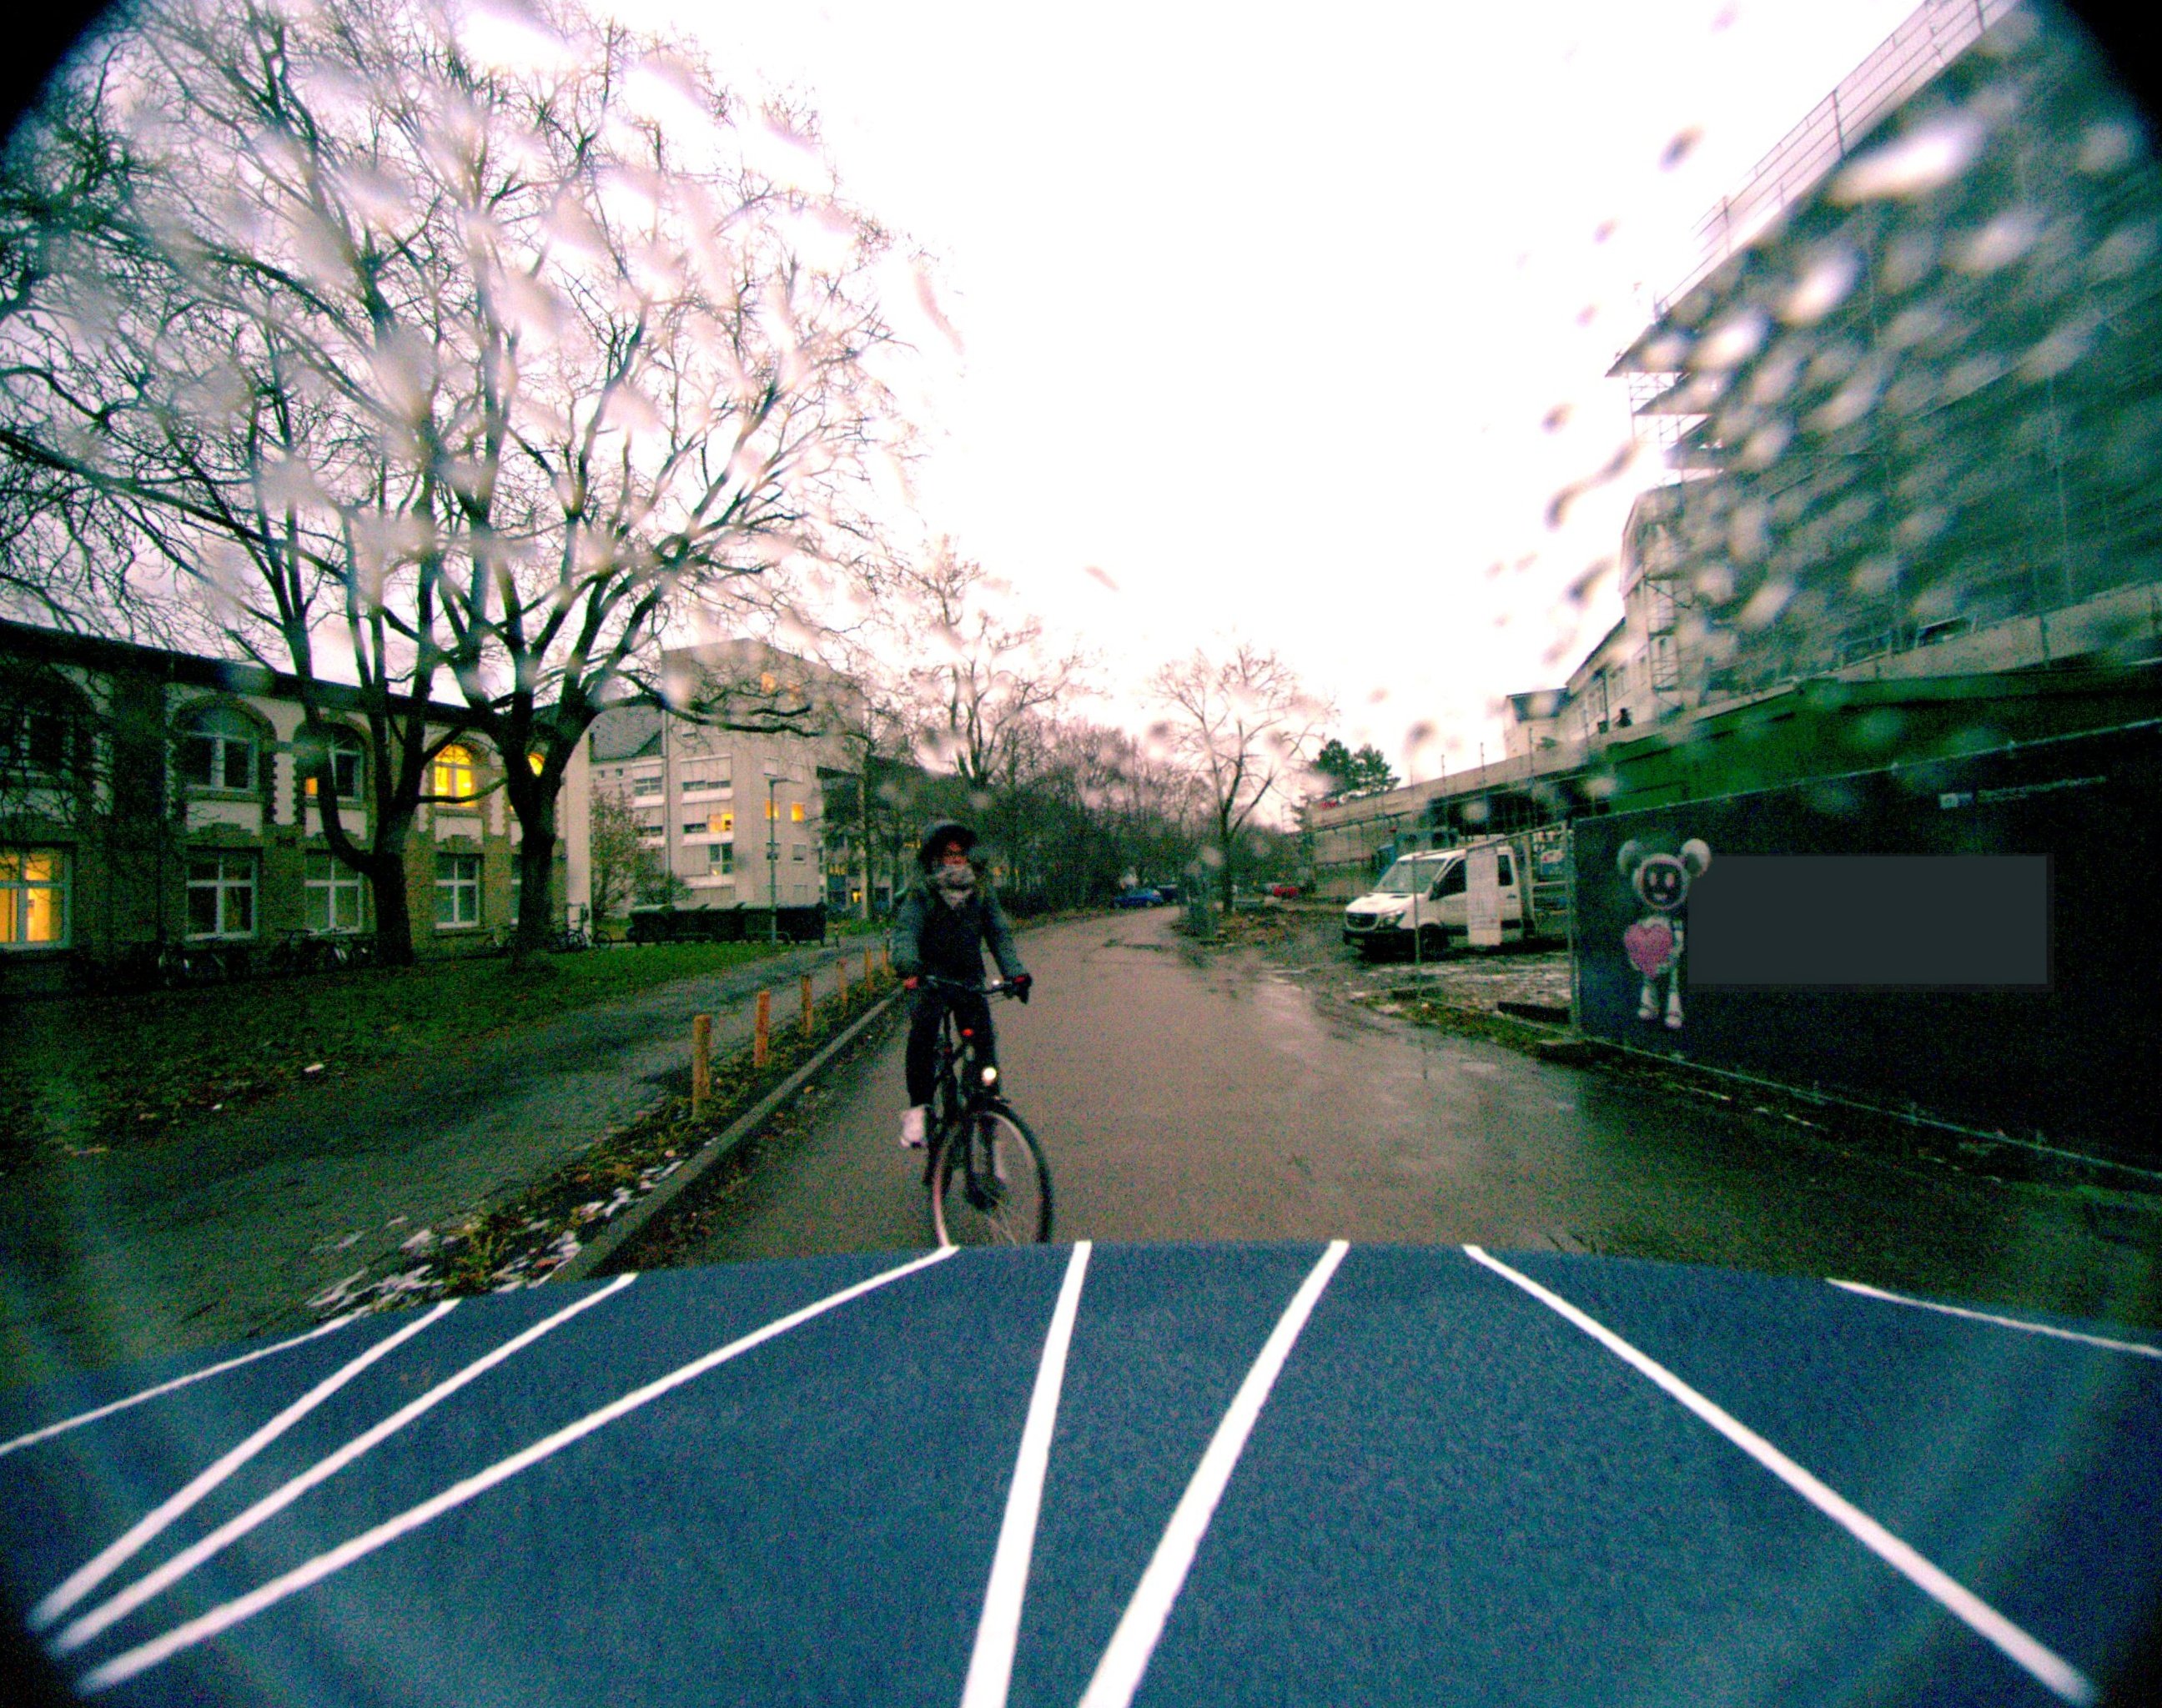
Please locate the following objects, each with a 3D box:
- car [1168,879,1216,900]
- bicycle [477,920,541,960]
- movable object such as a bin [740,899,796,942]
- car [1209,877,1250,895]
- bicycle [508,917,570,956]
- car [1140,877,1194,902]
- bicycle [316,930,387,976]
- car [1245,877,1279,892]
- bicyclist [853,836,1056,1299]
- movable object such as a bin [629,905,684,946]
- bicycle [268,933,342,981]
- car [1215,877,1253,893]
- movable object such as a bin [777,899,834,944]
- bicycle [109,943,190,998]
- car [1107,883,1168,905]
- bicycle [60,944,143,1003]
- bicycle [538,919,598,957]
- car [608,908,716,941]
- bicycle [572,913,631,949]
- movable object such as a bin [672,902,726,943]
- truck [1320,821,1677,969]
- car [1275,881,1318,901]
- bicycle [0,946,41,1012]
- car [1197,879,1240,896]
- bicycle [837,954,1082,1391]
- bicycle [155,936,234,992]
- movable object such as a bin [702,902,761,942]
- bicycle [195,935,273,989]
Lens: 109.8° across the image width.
[{"bbox_3d":[10.144,3.237,69.465,3.991,1.785,1.805,-3,-2,24],"label":"car"},{"bbox_3d":[-17.331,2.599,23.005,2.136,1.150,0.574,-3,-2,24],"label":"bicycle"},{"bbox_3d":[-9.938,2.111,24.141,1.305,1.306,0.989,-2,-2,18],"label":"movable object such as a bin"},{"bbox_3d":[15.988,3.475,81.835,3.991,1.785,1.805,-3,-2,24],"label":"car"},{"bbox_3d":[-17.022,2.587,23.842,2.136,1.150,0.574,-3,-2,24],"label":"bicycle"},{"bbox_3d":[7.148,2.949,63.056,3.991,1.979,2.004,-3,-2,24],"label":"car"},{"bbox_3d":[-18.763,2.523,19.532,2.136,1.103,0.574,-3,-2,24],"label":"bicycle"},{"bbox_3d":[23.667,3.991,99.199,3.991,1.785,1.805,-3,-2,24],"label":"car"},{"bbox_3d":[-0.537,0.793,3.239,0.707,1.679,0.771,-2,-1,-10],"label":"bicyclist"},{"bbox_3d":[-14.156,2.383,25.379,1.261,1.306,0.989,-2,-2,18],"label":"movable object such as a bin"},{"bbox_3d":[-19.095,2.516,18.679,2.136,1.085,0.574,-3,-2,24],"label":"bicycle"},{"bbox_3d":[18.010,3.669,89.350,3.991,1.785,1.805,-3,-2,24],"label":"car"},{"bbox_3d":[-8.579,2.093,23.712,1.322,1.309,1.064,-1,-1,5],"label":"movable object such as a bin"},{"bbox_3d":[-20.046,2.475,16.343,2.136,1.011,0.574,-1,-1,25],"label":"bicycle"},{"bbox_3d":[4.321,3.065,57.779,4.172,1.468,2.004,-2,-5,21],"label":"car"},{"bbox_3d":[-20.297,2.456,15.739,2.136,1.044,0.574,-1,-1,25],"label":"bicycle"},{"bbox_3d":[-16.757,2.727,24.800,2.136,1.150,0.574,-3,-2,24],"label":"bicycle"},{"bbox_3d":[-19.681,3.270,35.895,1.995,1.273,4.008,-3,-2,28],"label":"car"},{"bbox_3d":[-16.175,2.605,25.617,2.136,1.150,0.574,-3,-2,24],"label":"bicycle"},{"bbox_3d":[-12.651,2.270,25.192,1.249,1.272,0.989,-2,-2,18],"label":"movable object such as a bin"},{"bbox_3d":[9.032,0.794,16.541,7.083,2.572,2.131,-3,-1,-13],"label":"truck"},{"bbox_3d":[18.168,3.107,64.021,3.302,1.513,1.707,-3,-2,20],"label":"car"},{"bbox_3d":[-20.648,2.360,14.466,2.136,1.150,0.574,-3,-2,24],"label":"bicycle"},{"bbox_3d":[14.151,3.470,78.098,3.991,1.651,2.004,-3,-2,24],"label":"car"},{"bbox_3d":[-0.540,1.102,3.324,0.731,1.125,1.893,-2,-2,-10],"label":"bicycle"},{"bbox_3d":[-19.774,2.427,16.942,2.136,1.150,0.574,-3,-2,24],"label":"bicycle"},{"bbox_3d":[-11.327,2.212,24.658,1.435,1.217,0.989,-2,-2,18],"label":"movable object such as a bin"},{"bbox_3d":[-19.531,2.458,17.514,2.136,1.150,0.574,-3,-2,24],"label":"bicycle"}]
